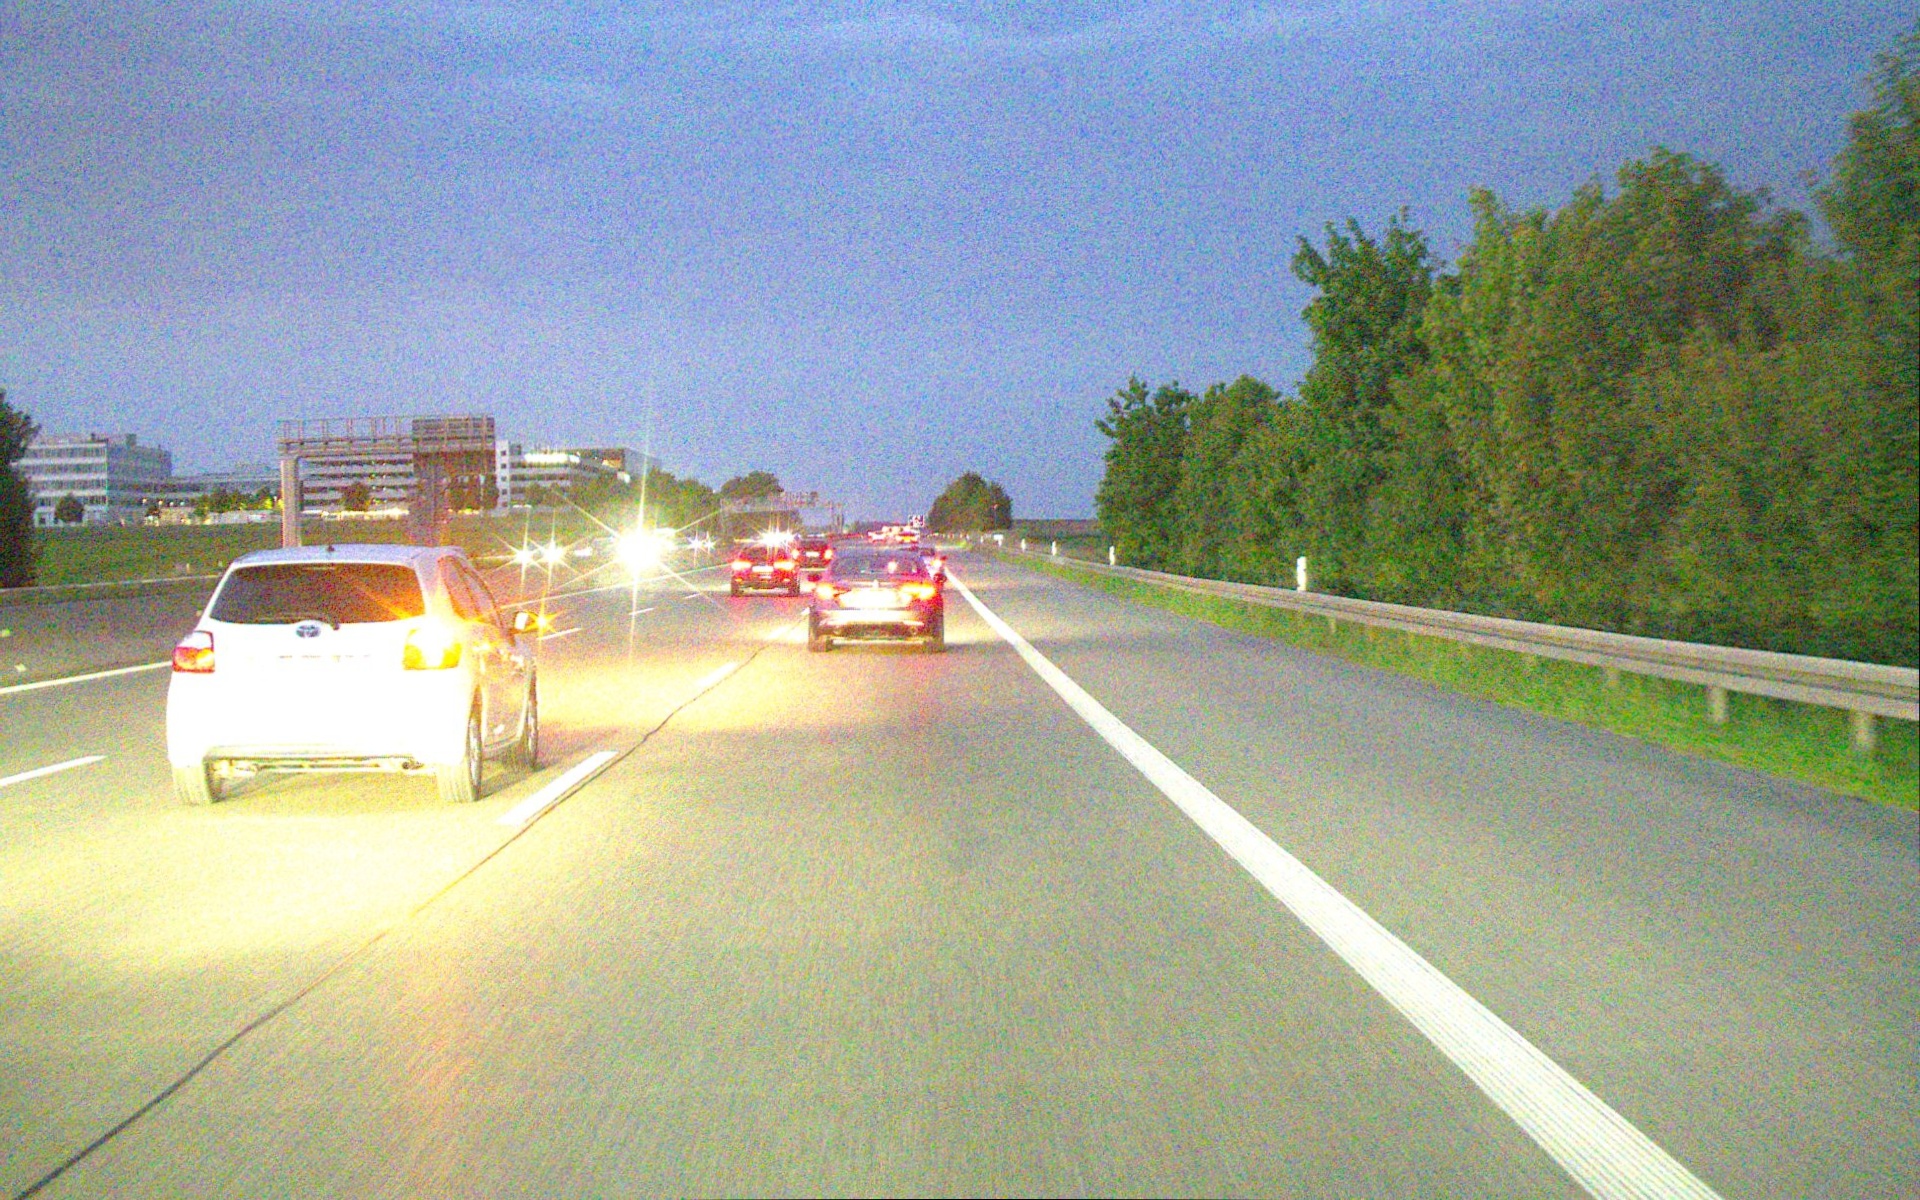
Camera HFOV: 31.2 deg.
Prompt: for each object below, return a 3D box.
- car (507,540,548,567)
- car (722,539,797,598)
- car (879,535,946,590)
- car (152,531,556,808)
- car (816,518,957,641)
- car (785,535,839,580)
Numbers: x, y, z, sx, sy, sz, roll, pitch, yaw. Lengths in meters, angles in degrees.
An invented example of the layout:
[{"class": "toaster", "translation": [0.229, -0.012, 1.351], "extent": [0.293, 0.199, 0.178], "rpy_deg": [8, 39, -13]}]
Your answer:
[{"class": "car", "translation": [-22.971, -2.459, 182.678], "extent": [1.744, 1.357, 4.112], "rpy_deg": [1, 1, -1]}, {"class": "car", "translation": [-5.422, -0.848, 93.279], "extent": [1.880, 1.547, 4.000], "rpy_deg": [1, 1, -2]}, {"class": "car", "translation": [-1.404, -1.088, 100.347], "extent": [1.880, 1.547, 4.000], "rpy_deg": [1, 1, -2]}, {"class": "car", "translation": [-3.625, 0.365, 21.298], "extent": [1.744, 1.519, 4.414], "rpy_deg": [1, 1, -1]}, {"class": "car", "translation": [-1.029, -0.295, 48.289], "extent": [1.880, 1.637, 4.000], "rpy_deg": [1, 1, -1]}, {"class": "car", "translation": [-6.400, -1.843, 148.904], "extent": [2.199, 1.873, 4.000], "rpy_deg": [1, 1, -1]}]
